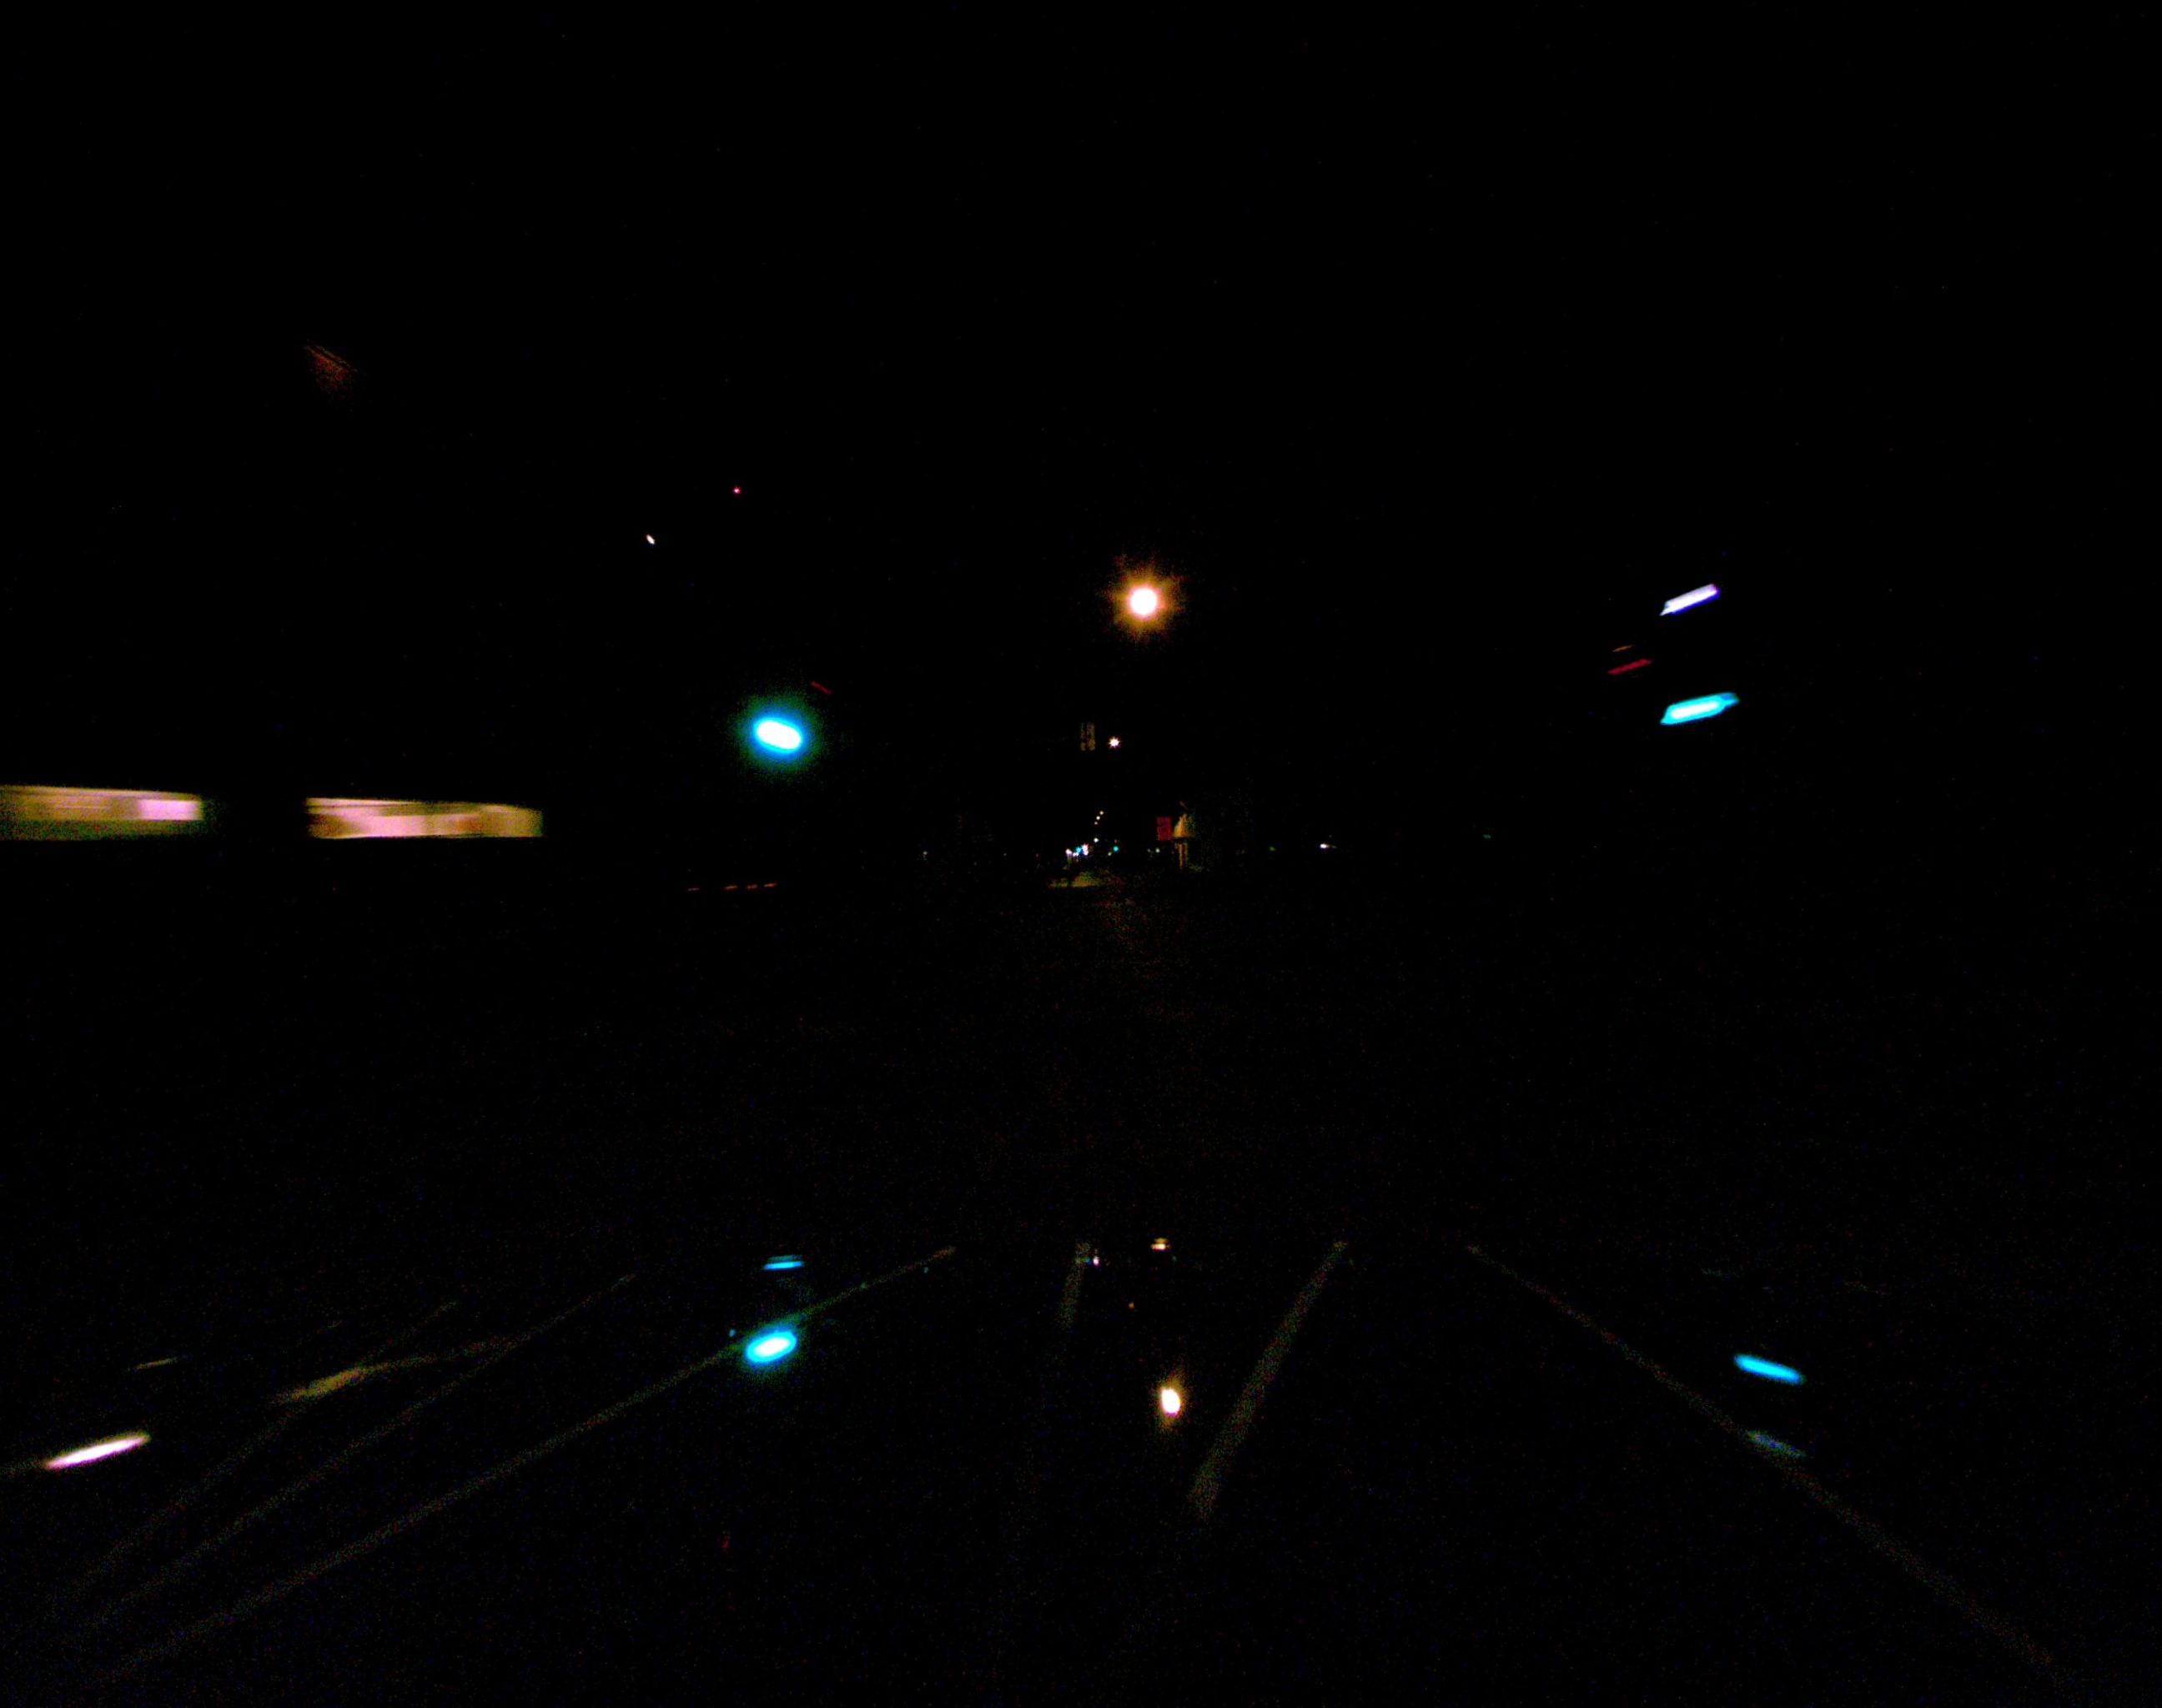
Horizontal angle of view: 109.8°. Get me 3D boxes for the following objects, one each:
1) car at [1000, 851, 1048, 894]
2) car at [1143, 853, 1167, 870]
[{"bbox_3d":[-2.557,0.790,35.156,1.916,1.816,4.899,-2,0,-1],"label":"car"},{"bbox_3d":[6.800,0.687,70.047,1.731,1.477,4.291,-3,0,0],"label":"car"}]
